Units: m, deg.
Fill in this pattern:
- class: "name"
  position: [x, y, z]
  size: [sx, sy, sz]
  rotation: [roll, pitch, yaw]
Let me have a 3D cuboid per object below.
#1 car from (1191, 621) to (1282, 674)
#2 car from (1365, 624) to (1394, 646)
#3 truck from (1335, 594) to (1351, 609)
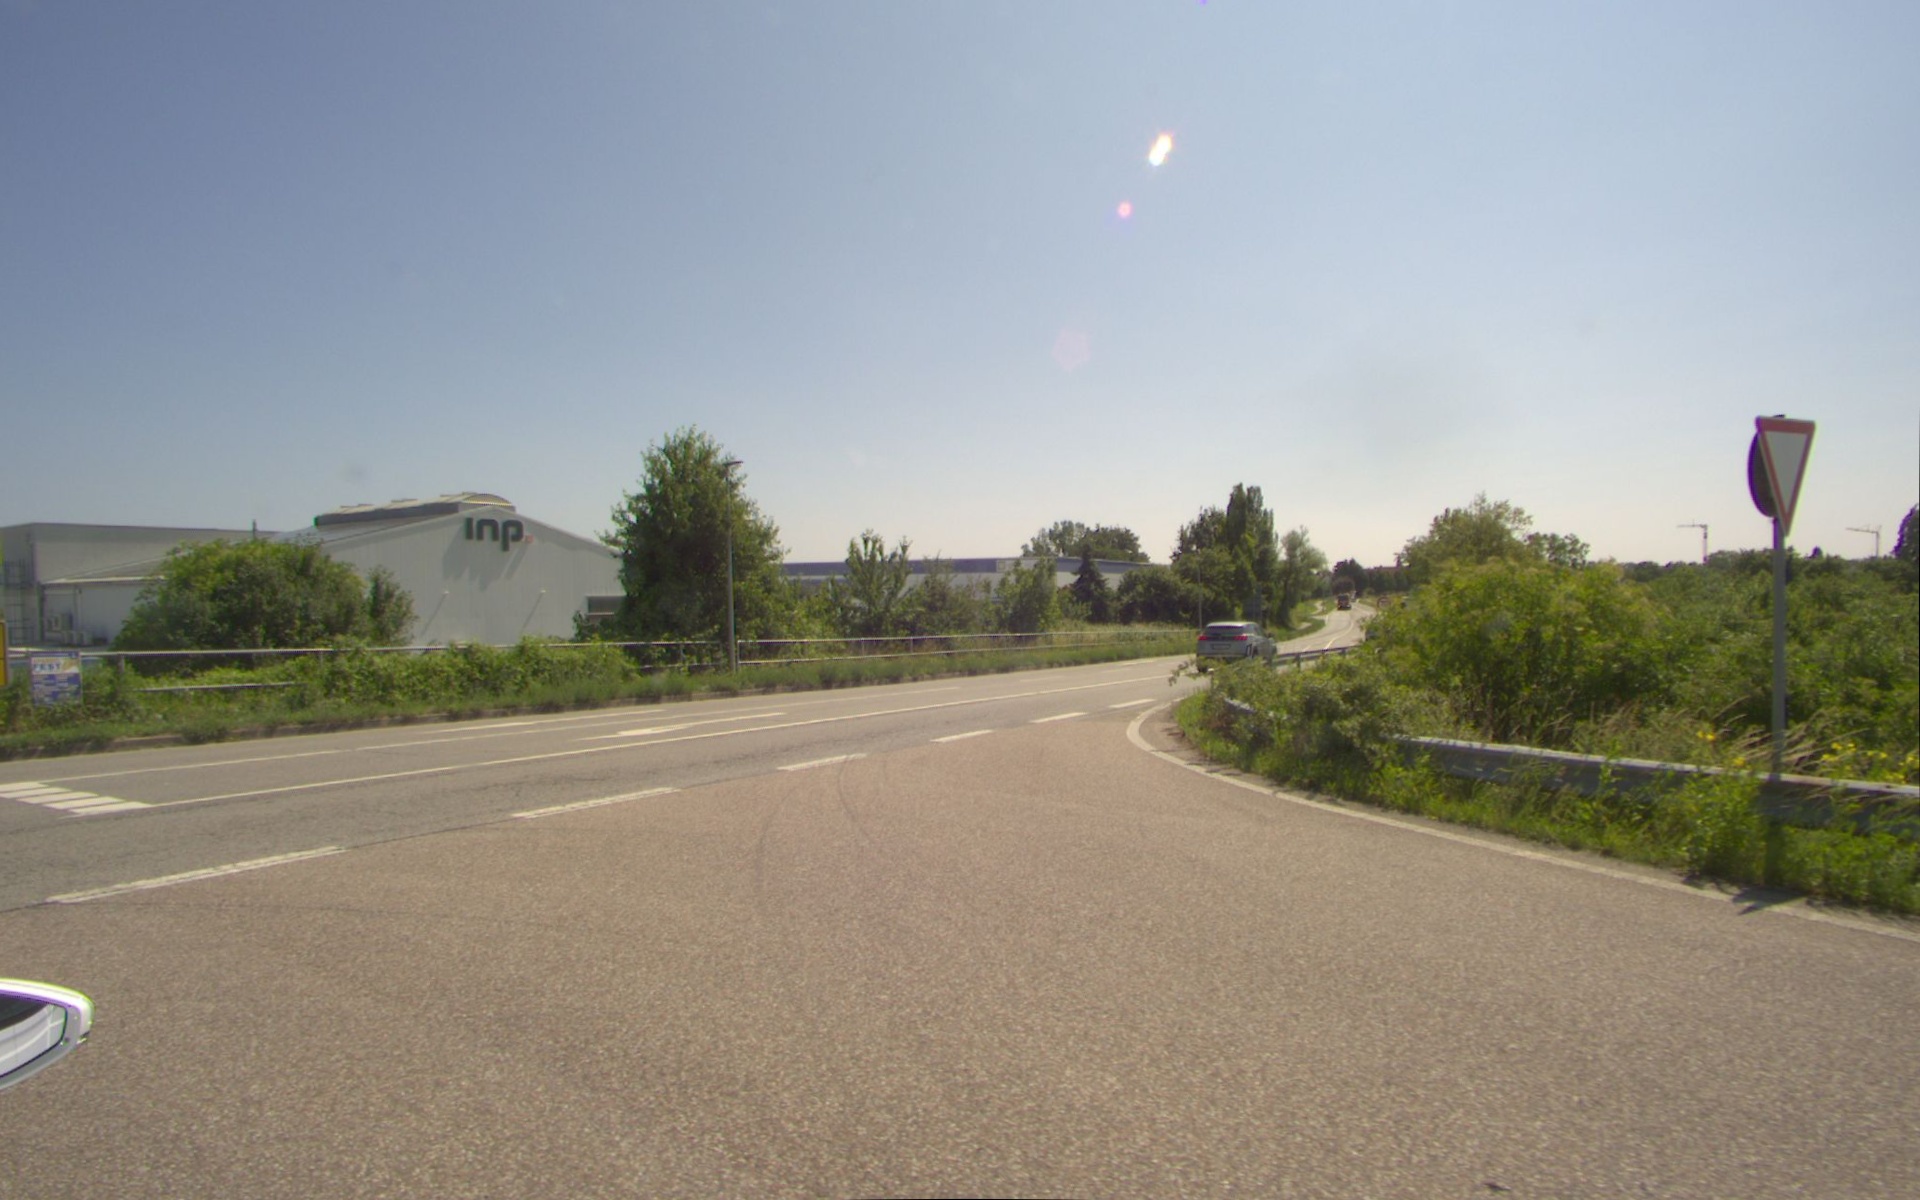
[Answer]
- class: "car"
  position: [9.060, 1.505, 32.543]
  size: [1.771, 1.603, 4.471]
  rotation: [-1, -2, 30]
- class: "car"
  position: [30.675, 2.542, 73.190]
  size: [1.504, 1.593, 3.653]
  rotation: [-1, -1, 30]
- class: "truck"
  position: [76.308, 0.361, 199.462]
  size: [2.814, 2.824, 6.940]
  rotation: [-1, 0, 22]
